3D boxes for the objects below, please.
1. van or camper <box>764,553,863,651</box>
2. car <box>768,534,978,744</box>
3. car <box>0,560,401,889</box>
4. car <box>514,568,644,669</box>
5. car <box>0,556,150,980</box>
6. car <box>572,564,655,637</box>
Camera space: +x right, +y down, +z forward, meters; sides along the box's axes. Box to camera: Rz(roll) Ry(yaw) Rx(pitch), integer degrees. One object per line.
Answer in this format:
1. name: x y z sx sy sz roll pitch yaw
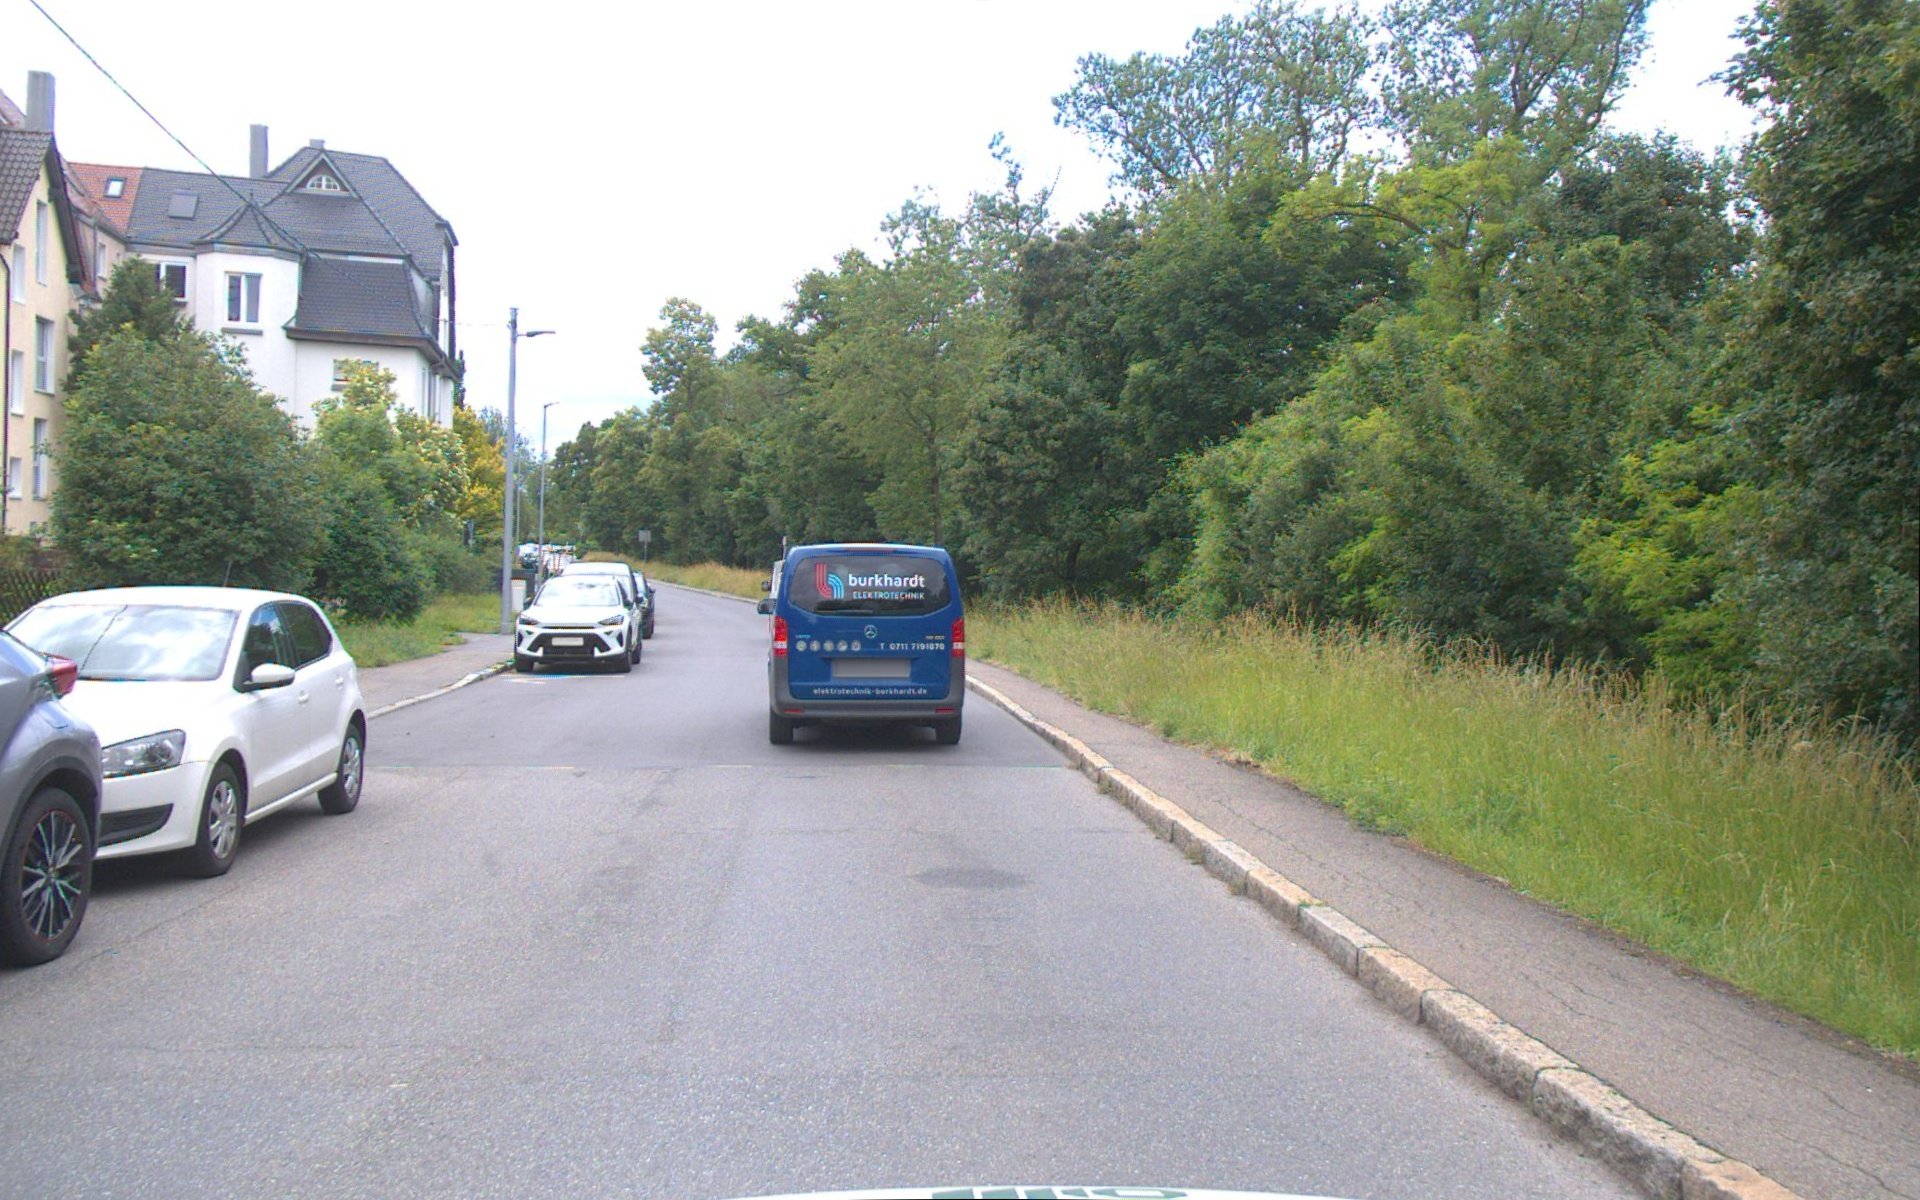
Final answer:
1. van or camper: -3.497 -0.026 38.820 1.982 1.990 4.889 4 2 -8
2. car: -0.990 0.337 16.954 1.876 1.870 4.288 0 0 -6
3. car: -4.575 0.564 9.650 1.591 1.506 3.923 2 0 -6
4. car: -6.321 0.279 27.843 1.692 1.518 4.405 2 0 -8
5. car: -4.222 0.583 4.915 1.726 1.506 4.125 1 0 -3
6. car: -8.625 -0.005 41.405 1.782 1.644 4.214 3 0 -10
